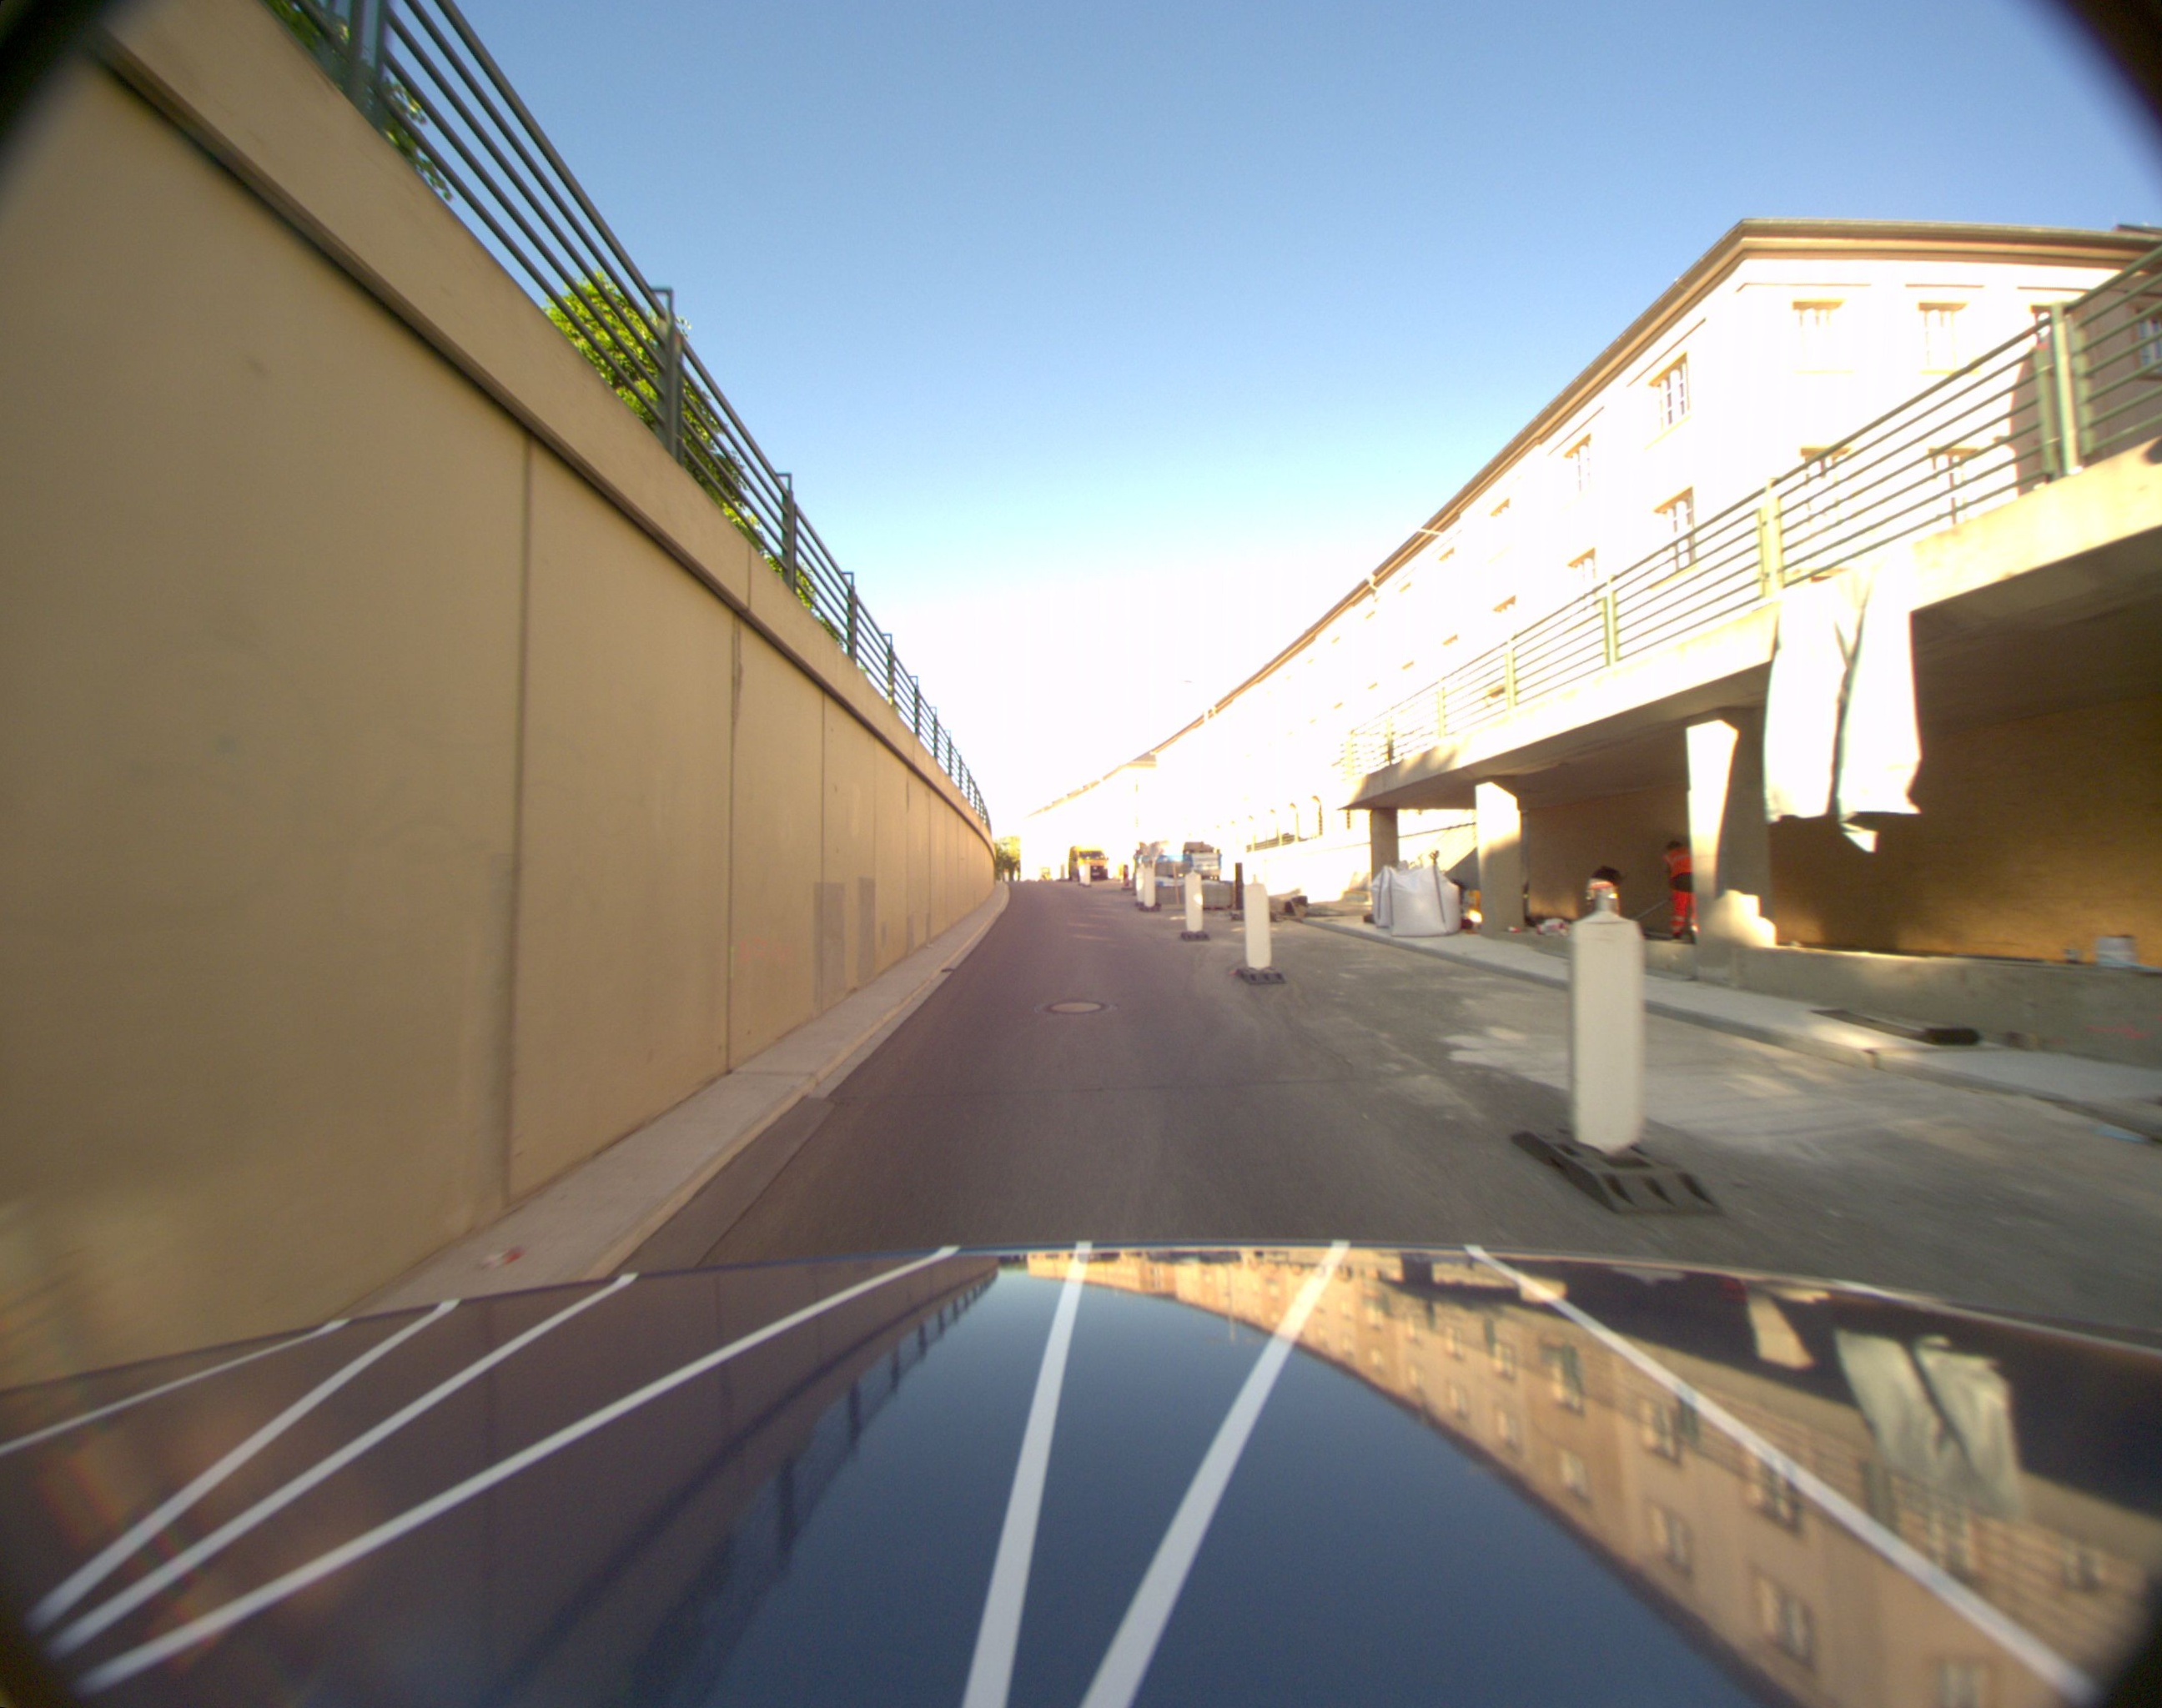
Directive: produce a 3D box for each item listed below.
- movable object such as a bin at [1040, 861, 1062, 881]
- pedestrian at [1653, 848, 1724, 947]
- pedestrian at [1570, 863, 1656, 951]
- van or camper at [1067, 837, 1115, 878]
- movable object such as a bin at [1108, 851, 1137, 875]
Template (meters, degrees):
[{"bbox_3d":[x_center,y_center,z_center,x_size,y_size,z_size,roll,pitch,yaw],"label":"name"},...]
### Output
[{"bbox_3d":[-3.831,2.190,96.441,1.798,2.437,4.532,1,-3,-17],"label":"movable object such as a bin"},{"bbox_3d":[9.845,0.686,12.334,0.651,1.570,0.630,-1,1,-10],"label":"pedestrian"},{"bbox_3d":[8.865,0.856,12.683,0.874,1.390,0.782,-1,1,-9],"label":"pedestrian"},{"bbox_3d":[0.562,0.258,52.396,2.201,2.597,6.820,-3,0,-8],"label":"van or camper"},{"bbox_3d":[4.367,0.962,79.790,2.106,2.380,4.305,1,-2,-10],"label":"movable object such as a bin"}]
